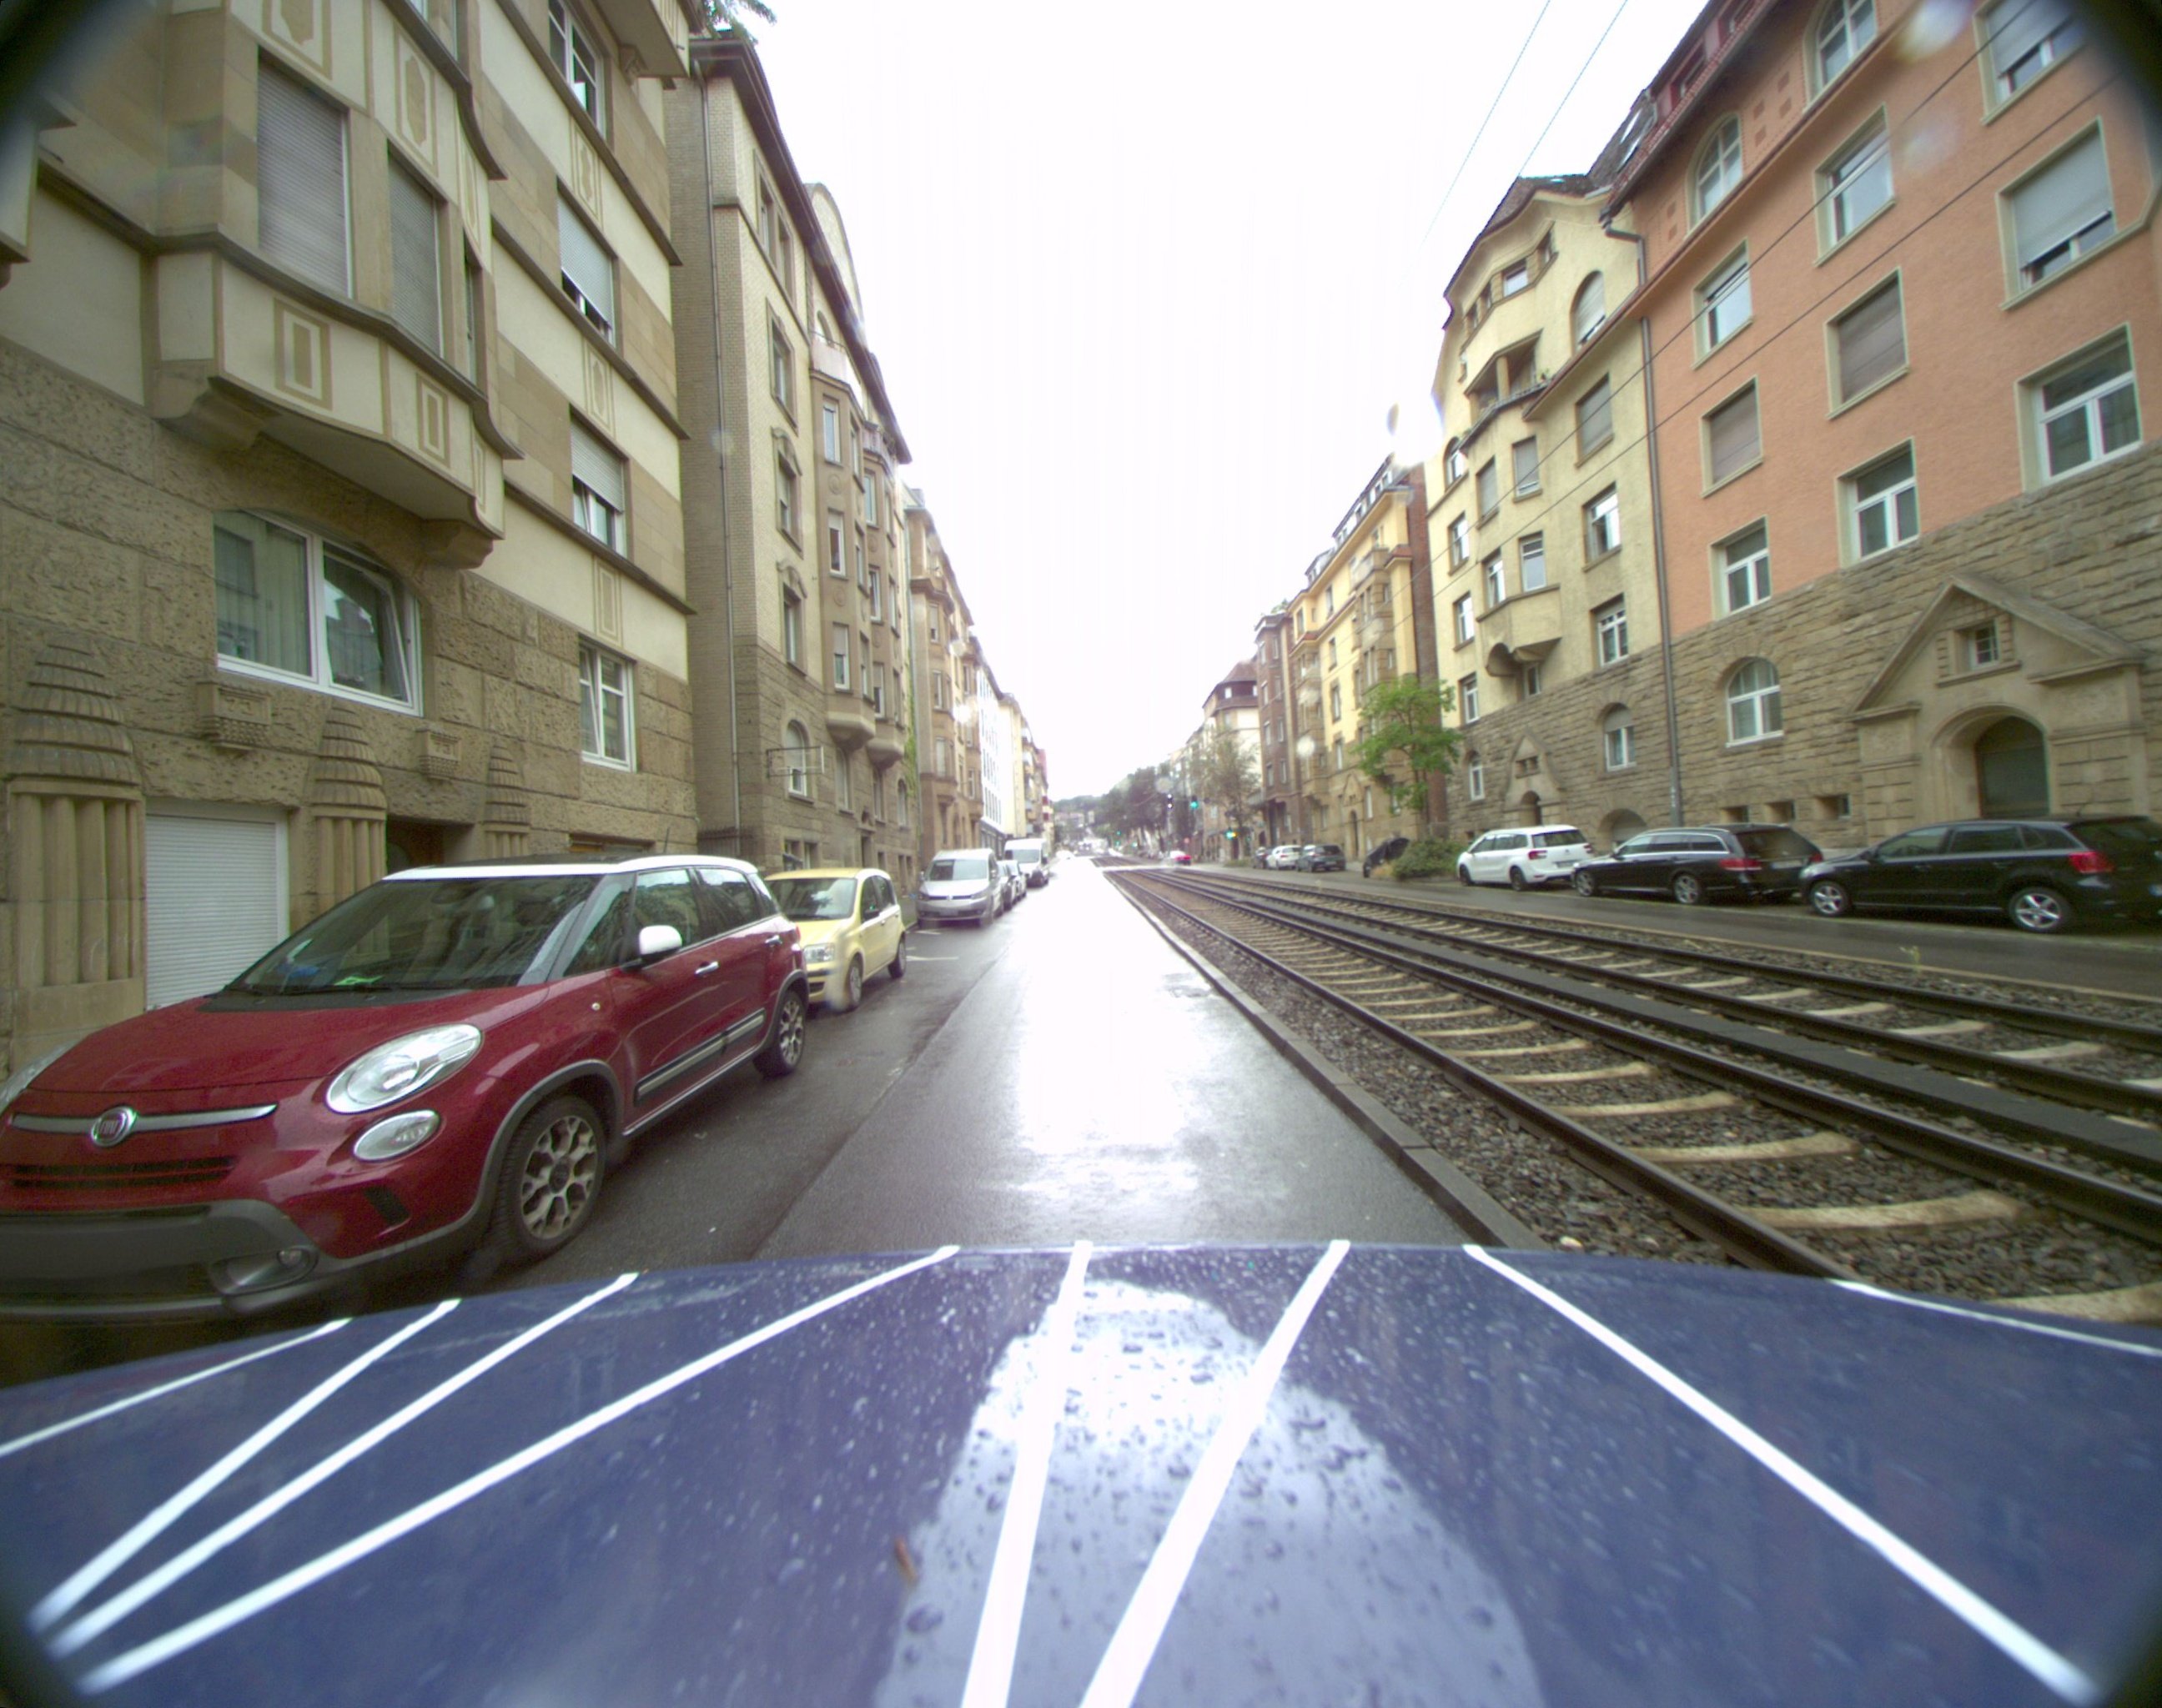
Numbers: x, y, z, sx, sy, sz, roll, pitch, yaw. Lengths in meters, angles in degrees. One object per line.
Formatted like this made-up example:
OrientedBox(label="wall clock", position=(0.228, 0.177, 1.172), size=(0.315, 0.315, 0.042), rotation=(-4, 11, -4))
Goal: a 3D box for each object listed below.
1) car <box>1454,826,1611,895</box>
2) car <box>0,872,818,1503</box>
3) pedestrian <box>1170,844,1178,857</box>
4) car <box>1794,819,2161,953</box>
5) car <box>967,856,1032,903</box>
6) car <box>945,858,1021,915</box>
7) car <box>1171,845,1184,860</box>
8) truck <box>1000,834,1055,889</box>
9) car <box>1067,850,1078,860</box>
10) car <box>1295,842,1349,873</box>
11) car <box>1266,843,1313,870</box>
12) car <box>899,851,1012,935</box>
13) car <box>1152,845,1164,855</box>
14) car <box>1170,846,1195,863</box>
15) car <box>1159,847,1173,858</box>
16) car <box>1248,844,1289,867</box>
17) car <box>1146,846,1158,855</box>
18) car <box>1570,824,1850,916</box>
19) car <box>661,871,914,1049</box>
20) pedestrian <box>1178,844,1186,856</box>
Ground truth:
OrientedBox(label="car", position=(12.277, 0.155, 21.033), size=(1.867, 1.646, 4.146), rotation=(-3, 0, 1))
OrientedBox(label="car", position=(-3.030, 0.987, 4.079), size=(1.807, 1.590, 3.999), rotation=(-3, 0, -1))
OrientedBox(label="pedestrian", position=(15.041, -0.590, 122.691), size=(1.056, 1.946, 1.163), rotation=(-3, 1, 2))
OrientedBox(label="car", position=(12.532, 0.333, 10.453), size=(1.935, 1.488, 3.642), rotation=(-2, 1, -2))
OrientedBox(label="car", position=(-2.949, 0.895, 28.303), size=(1.891, 1.521, 3.929), rotation=(-3, 0, 1))
OrientedBox(label="car", position=(-2.960, 0.952, 23.803), size=(1.999, 1.521, 3.999), rotation=(-3, 0, -3))
OrientedBox(label="car", position=(12.679, -0.203, 99.532), size=(1.583, 1.669, 3.790), rotation=(-3, 2, 7))
OrientedBox(label="truck", position=(-2.719, 0.358, 39.932), size=(2.235, 2.521, 6.143), rotation=(-3, 0, 1))
OrientedBox(label="car", position=(-1.651, 0.135, 153.787), size=(1.998, 1.838, 4.000), rotation=(-3, 0, 1))
OrientedBox(label="car", position=(12.509, 0.154, 39.601), size=(1.678, 1.433, 3.845), rotation=(-4, 1, 3))
OrientedBox(label="car", position=(12.477, 0.144, 45.640), size=(1.771, 1.433, 4.031), rotation=(-3, 0, 2))
OrientedBox(label="car", position=(-3.006, 0.860, 19.186), size=(1.968, 1.792, 4.459), rotation=(-3, 0, 1))
OrientedBox(label="car", position=(12.847, -0.597, 126.822), size=(1.657, 1.589, 3.775), rotation=(-3, 0, 1))
OrientedBox(label="car", position=(9.954, 0.076, 74.589), size=(1.807, 1.514, 4.964), rotation=(-2, 0, 0))
OrientedBox(label="car", position=(12.877, -0.242, 115.352), size=(1.771, 1.507, 3.845), rotation=(-3, 0, 1))
OrientedBox(label="car", position=(12.487, 0.093, 50.735), size=(1.771, 1.433, 3.845), rotation=(-3, 0, 1))
OrientedBox(label="car", position=(12.443, -0.595, 133.691), size=(1.632, 1.537, 3.801), rotation=(-3, 0, 1))
OrientedBox(label="car", position=(12.295, 0.267, 15.371), size=(1.847, 1.486, 4.601), rotation=(-3, 0, 1))
OrientedBox(label="car", position=(-3.186, 1.051, 9.028), size=(1.580, 1.520, 3.578), rotation=(-3, 0, -1))
OrientedBox(label="pedestrian", position=(16.344, -0.639, 122.679), size=(1.056, 1.946, 1.163), rotation=(-3, 1, 2))
